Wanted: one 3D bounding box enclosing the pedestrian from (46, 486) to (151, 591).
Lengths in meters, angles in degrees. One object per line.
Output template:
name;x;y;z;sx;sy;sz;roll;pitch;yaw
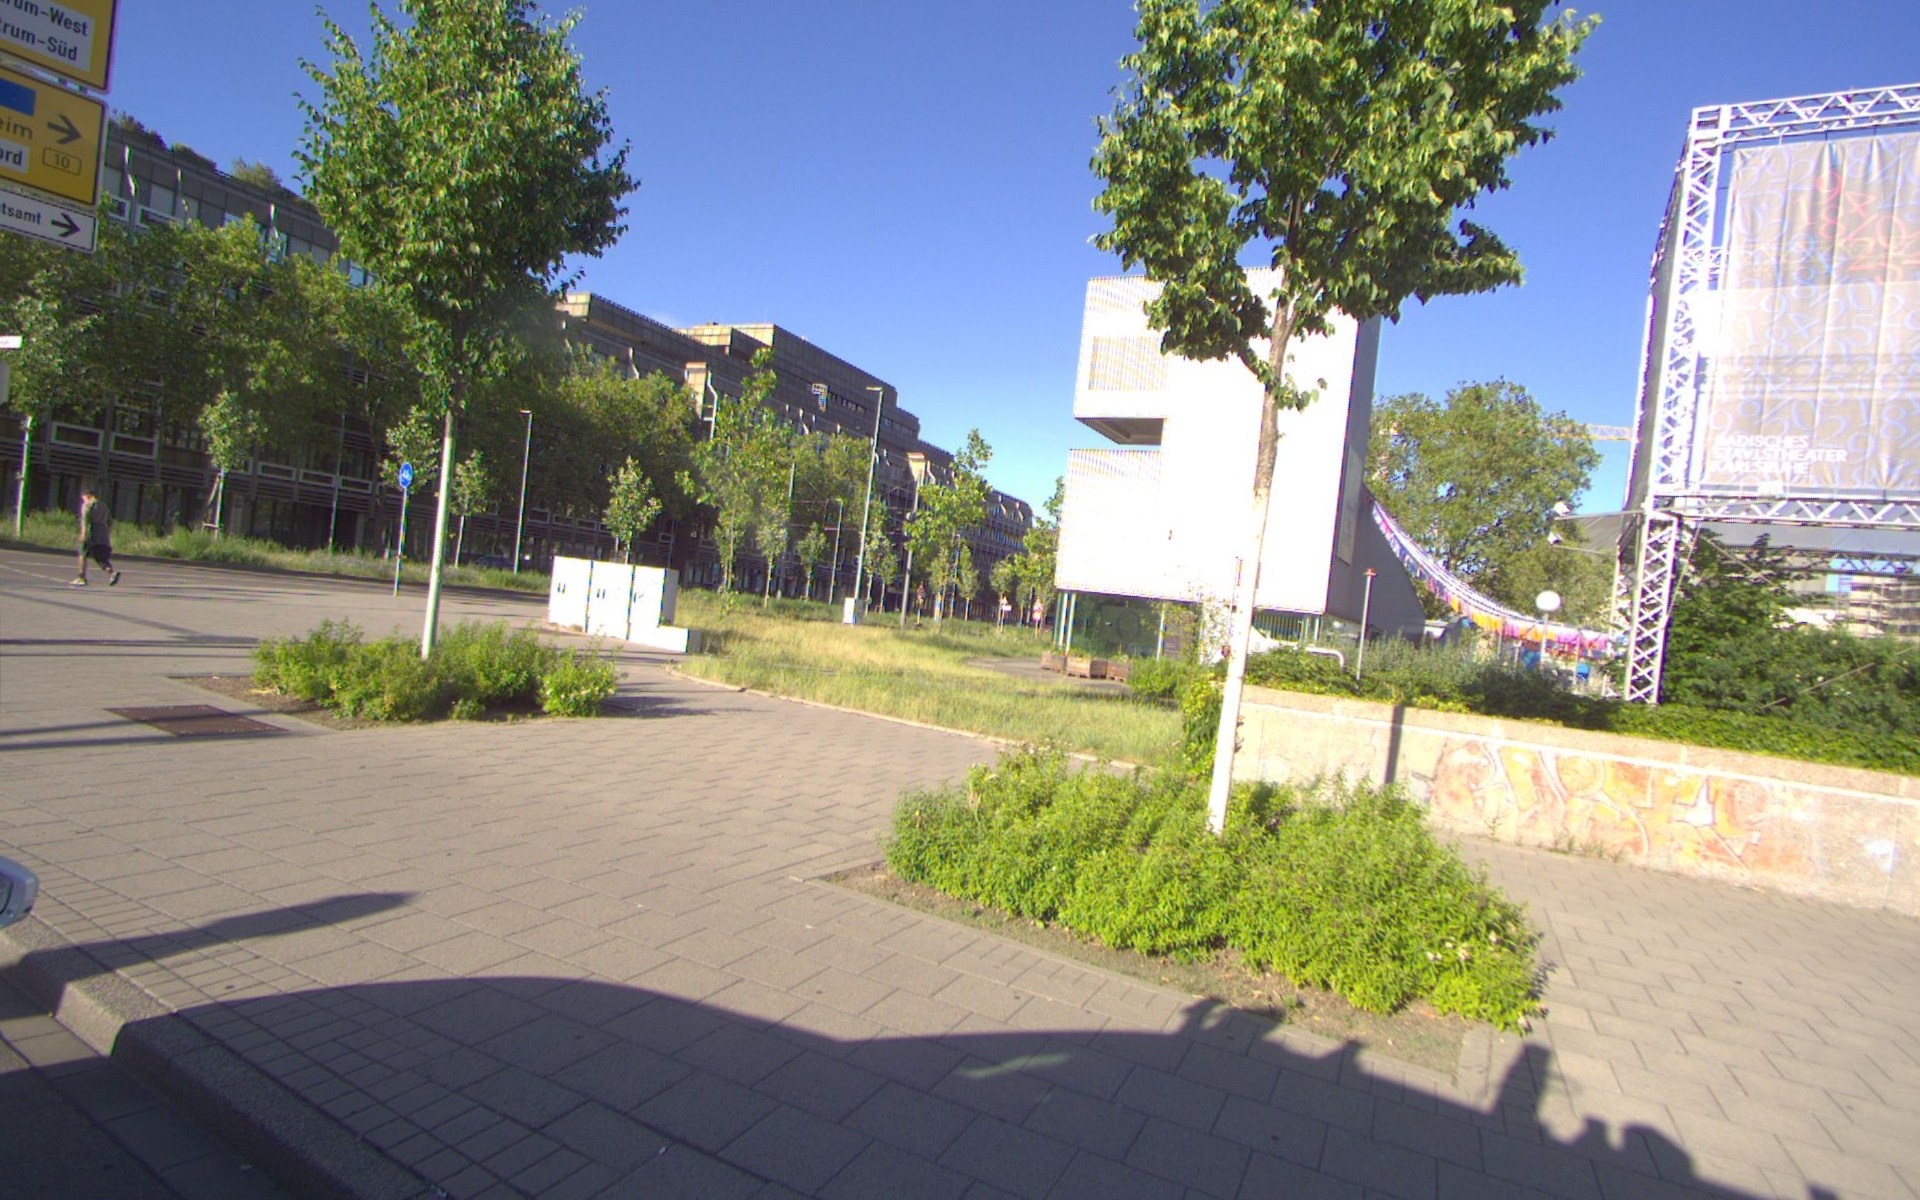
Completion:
pedestrian;-15.419;-1.084;18.027;0.946;1.684;0.882;7;-1;14

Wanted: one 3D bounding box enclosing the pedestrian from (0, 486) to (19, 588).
pedestrian;-14.730;-0.998;14.964;0.633;1.510;0.789;6;-1;31
